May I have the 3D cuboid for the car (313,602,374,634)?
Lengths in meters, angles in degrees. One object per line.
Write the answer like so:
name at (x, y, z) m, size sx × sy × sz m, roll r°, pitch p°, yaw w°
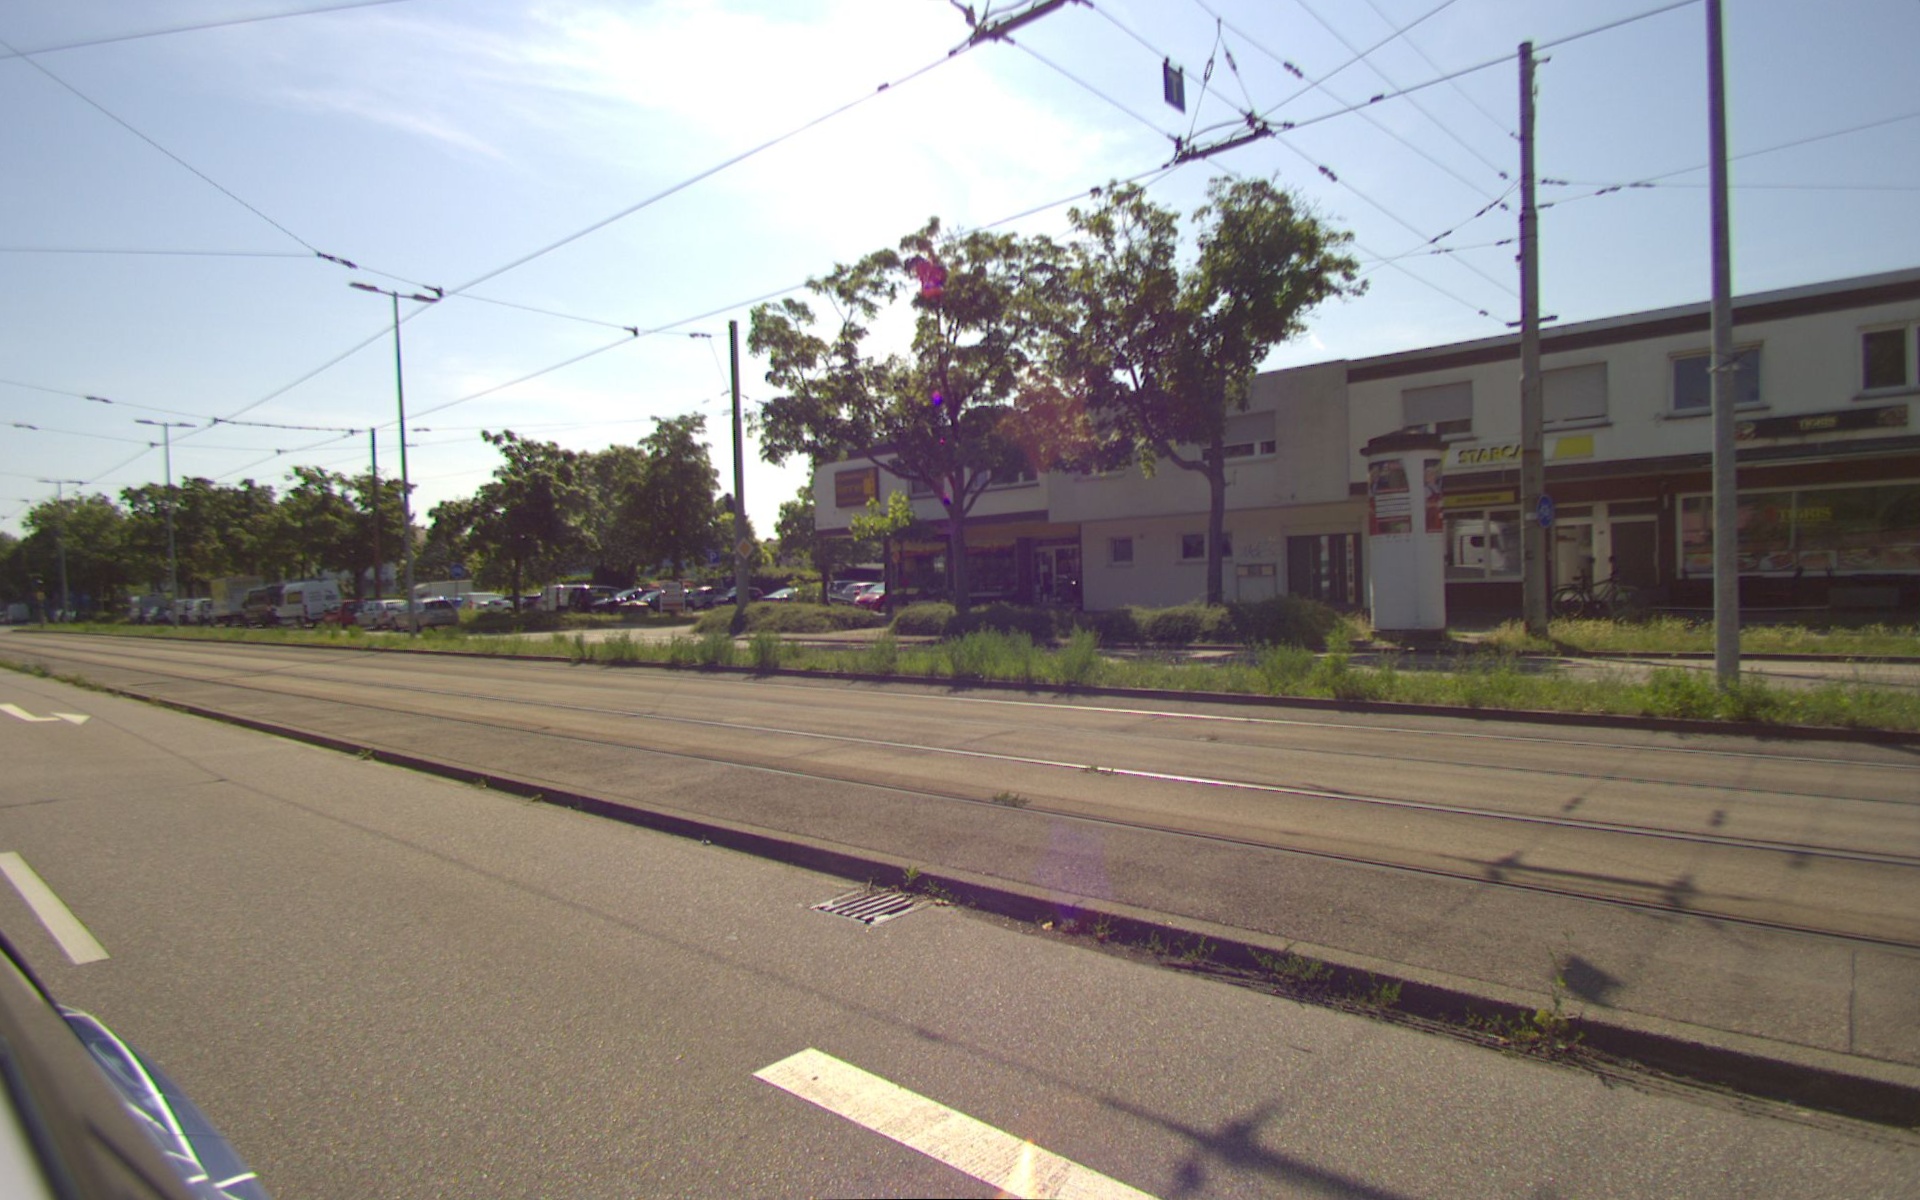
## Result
car at (-33.156, 0.952, 54.366) m, size 3.791 × 1.544 × 1.654 m, roll -1°, pitch 4°, yaw 41°

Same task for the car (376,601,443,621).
car at (-42.071, 0.816, 77.431) m, size 1.676 × 1.345 × 4.198 m, roll -1°, pitch 1°, yaw 41°

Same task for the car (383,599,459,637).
car at (-25.204, 0.836, 47.300) m, size 4.255 × 1.544 × 1.654 m, roll -1°, pitch 4°, yaw 41°

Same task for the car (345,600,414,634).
car at (-29.308, 0.866, 51.027) m, size 4.255 × 1.544 × 1.654 m, roll -1°, pitch 4°, yaw 41°

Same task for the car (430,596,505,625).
car at (-33.302, 0.710, 68.417) m, size 5.739 × 1.825 × 2.560 m, roll -1°, pitch 1°, yaw 42°

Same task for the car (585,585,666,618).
car at (-17.964, 0.079, 54.431) m, size 1.676 × 1.646 × 3.761 m, roll -1°, pitch 1°, yaw 42°

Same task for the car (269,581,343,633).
car at (-37.267, 0.418, 57.634) m, size 5.201 × 2.673 × 2.036 m, roll -1°, pitch 4°, yaw 41°

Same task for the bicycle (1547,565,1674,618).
bicycle at (14.690, -0.171, 22.897) m, size 2.333 × 1.161 × 0.779 m, roll -1°, pitch -1°, yaw 42°

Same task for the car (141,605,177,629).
car at (-64.411, 1.390, 81.359) m, size 3.685 × 1.799 × 1.484 m, roll -1°, pitch 4°, yaw 40°

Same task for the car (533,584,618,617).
car at (-22.065, -0.003, 58.185) m, size 1.988 × 1.751 × 4.068 m, roll -1°, pitch 1°, yaw 38°

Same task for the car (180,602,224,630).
car at (-54.965, 1.162, 73.351) m, size 4.631 × 1.817 × 1.483 m, roll -1°, pitch 4°, yaw 41°

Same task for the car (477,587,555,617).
car at (-28.027, 0.113, 63.998) m, size 1.988 × 1.751 × 4.068 m, roll -1°, pitch 1°, yaw 38°

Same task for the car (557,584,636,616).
car at (-20.264, -0.003, 56.493) m, size 1.676 × 1.646 × 3.761 m, roll -1°, pitch 1°, yaw 42°

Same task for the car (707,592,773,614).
car at (-15.100, 0.222, 69.596) m, size 1.676 × 1.345 × 4.197 m, roll -1°, pitch 1°, yaw 42°

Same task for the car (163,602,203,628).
car at (-59.757, 1.156, 77.814) m, size 4.056 × 1.859 × 1.484 m, roll -1°, pitch 4°, yaw 40°

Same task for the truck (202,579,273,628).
truck at (-48.236, 0.255, 67.512) m, size 5.902 × 2.956 × 2.476 m, roll -1°, pitch 4°, yaw 42°

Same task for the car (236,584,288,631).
car at (-42.381, 0.462, 61.433) m, size 4.005 × 2.643 × 1.483 m, roll -1°, pitch 4°, yaw 41°

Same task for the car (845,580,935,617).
car at (-3.278, -0.082, 48.018) m, size 1.676 × 1.616 × 4.197 m, roll -1°, pitch 1°, yaw 42°

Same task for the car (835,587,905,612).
car at (-5.467, -0.046, 61.630) m, size 1.676 × 1.345 × 4.197 m, roll -1°, pitch 1°, yaw 42°

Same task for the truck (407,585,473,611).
truck at (-52.883, -0.229, 103.031) m, size 1.988 × 2.398 × 5.584 m, roll -1°, pitch 1°, yaw 38°

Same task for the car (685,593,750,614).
car at (-17.081, 0.247, 71.463) m, size 1.676 × 1.345 × 4.197 m, roll -1°, pitch 1°, yaw 42°

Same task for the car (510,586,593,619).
car at (-24.040, 0.133, 59.667) m, size 1.988 × 1.751 × 4.068 m, roll -1°, pitch 1°, yaw 38°

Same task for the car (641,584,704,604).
car at (-21.166, -0.441, 74.616) m, size 1.674 × 1.345 × 4.201 m, roll -1°, pitch 1°, yaw 39°

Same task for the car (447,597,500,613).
car at (-45.995, 0.432, 95.680) m, size 1.676 × 1.345 × 4.198 m, roll -1°, pitch 1°, yaw 41°
